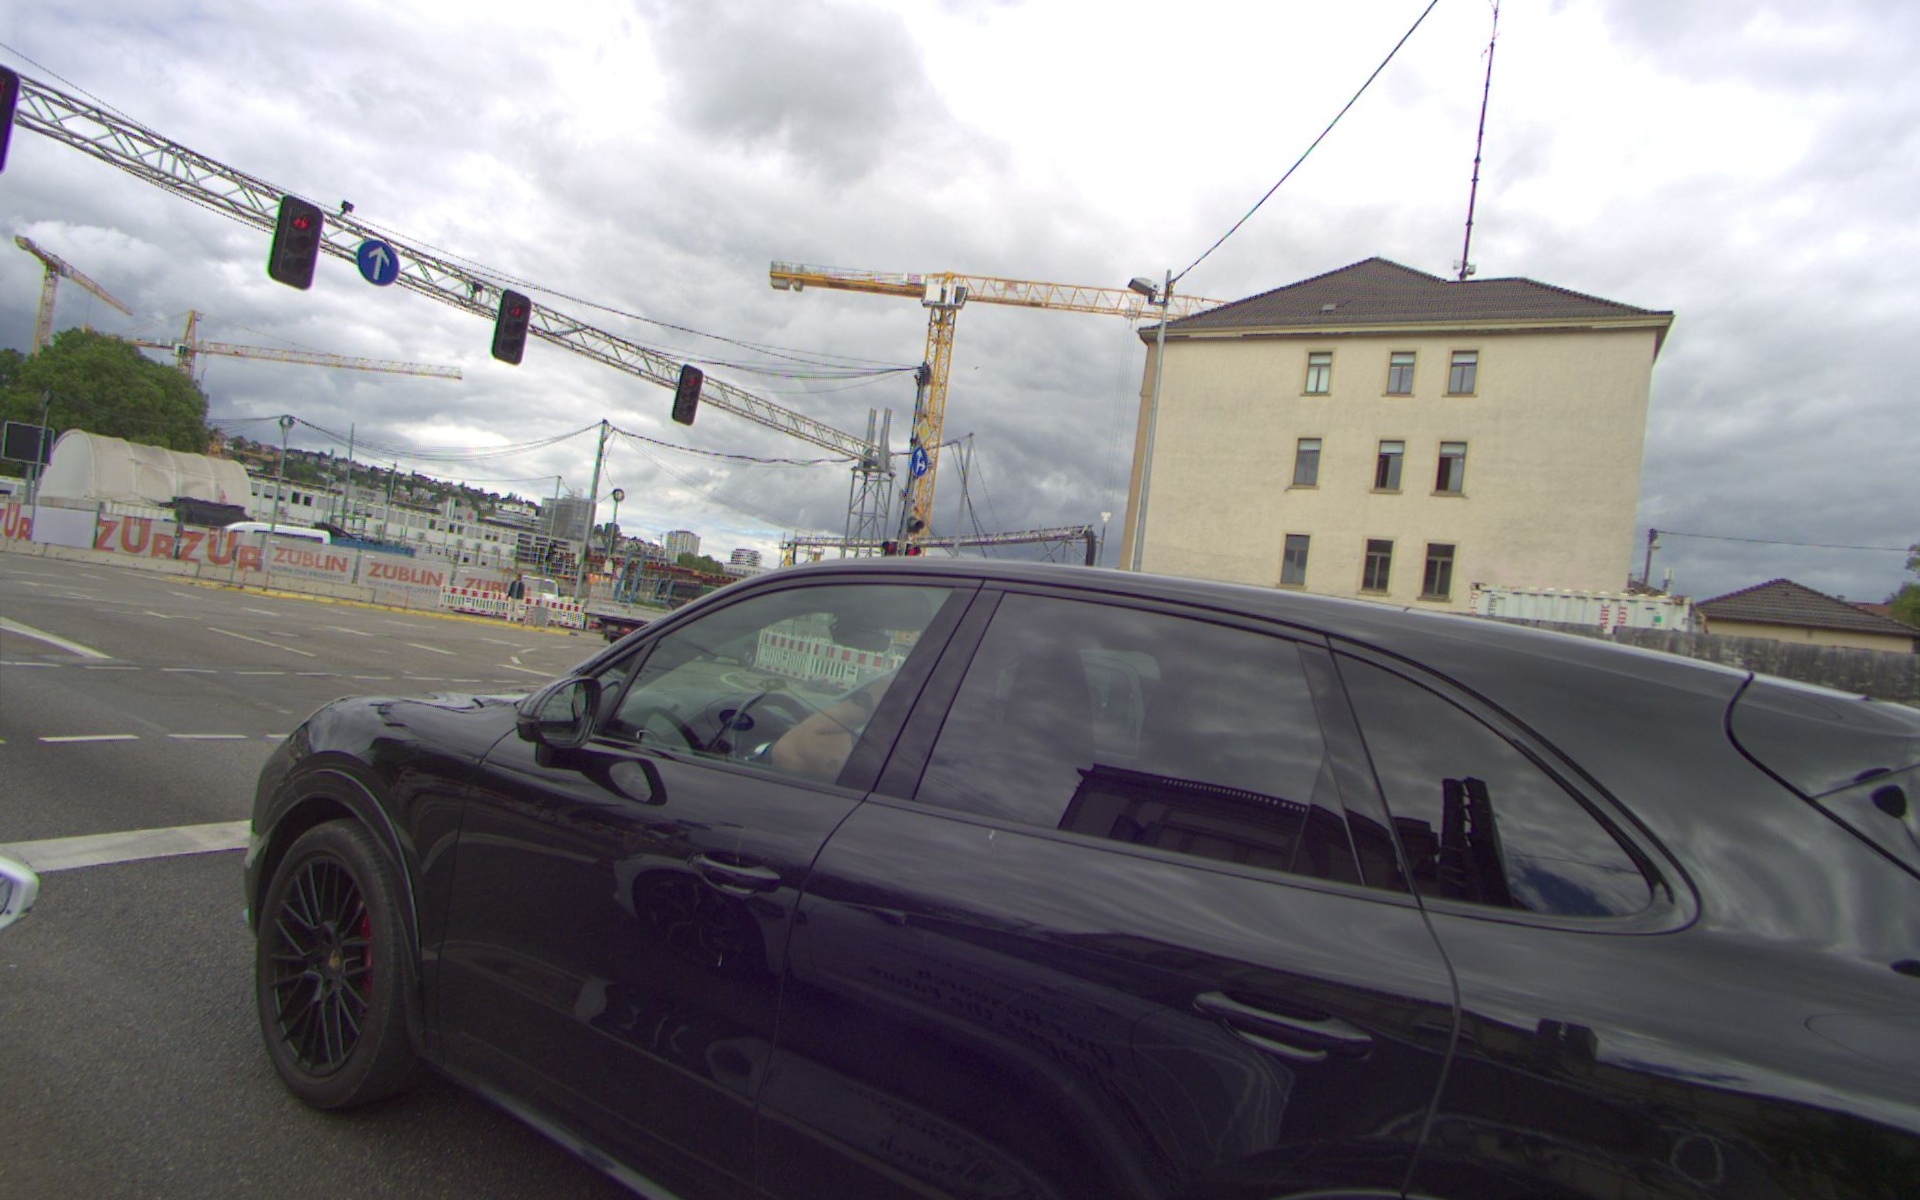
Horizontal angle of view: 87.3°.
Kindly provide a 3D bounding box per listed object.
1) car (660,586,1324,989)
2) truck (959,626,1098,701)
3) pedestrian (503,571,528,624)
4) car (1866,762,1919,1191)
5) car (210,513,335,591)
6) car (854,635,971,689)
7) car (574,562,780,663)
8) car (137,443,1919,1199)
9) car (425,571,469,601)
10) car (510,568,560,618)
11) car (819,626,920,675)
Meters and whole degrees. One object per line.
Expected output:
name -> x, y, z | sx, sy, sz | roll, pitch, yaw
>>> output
car -> 0.112, 0.981, 6.662 | 3.934, 1.644, 1.679 | 6, -2, 32
truck -> 3.529, 3.185, 48.622 | 2.583, 2.835, 9.001 | 7, -2, 31
pedestrian -> -17.256, -0.096, 39.037 | 0.580, 1.999, 0.433 | 8, -1, -17
car -> 5.764, 1.681, 2.568 | 4.729, 1.644, 1.828 | 6, -2, 32
car -> -29.578, -2.037, 43.367 | 1.660, 2.692, 3.979 | 6, -2, 45
car -> -1.758, 2.459, 39.232 | 1.988, 1.643, 4.816 | 6, -2, 33
car -> -8.355, 0.463, 30.347 | 2.266, 2.331, 5.769 | 6, -2, 32
car -> -0.051, 0.678, 2.665 | 4.410, 1.735, 1.828 | 6, -2, 32
car -> -32.196, -0.913, 63.094 | 1.668, 1.545, 3.960 | 8, -2, -37
car -> -19.168, -0.320, 45.295 | 1.757, 1.976, 3.108 | 8, -2, -25
car -> -3.792, 2.214, 43.109 | 1.654, 1.643, 4.719 | 6, -2, 32
